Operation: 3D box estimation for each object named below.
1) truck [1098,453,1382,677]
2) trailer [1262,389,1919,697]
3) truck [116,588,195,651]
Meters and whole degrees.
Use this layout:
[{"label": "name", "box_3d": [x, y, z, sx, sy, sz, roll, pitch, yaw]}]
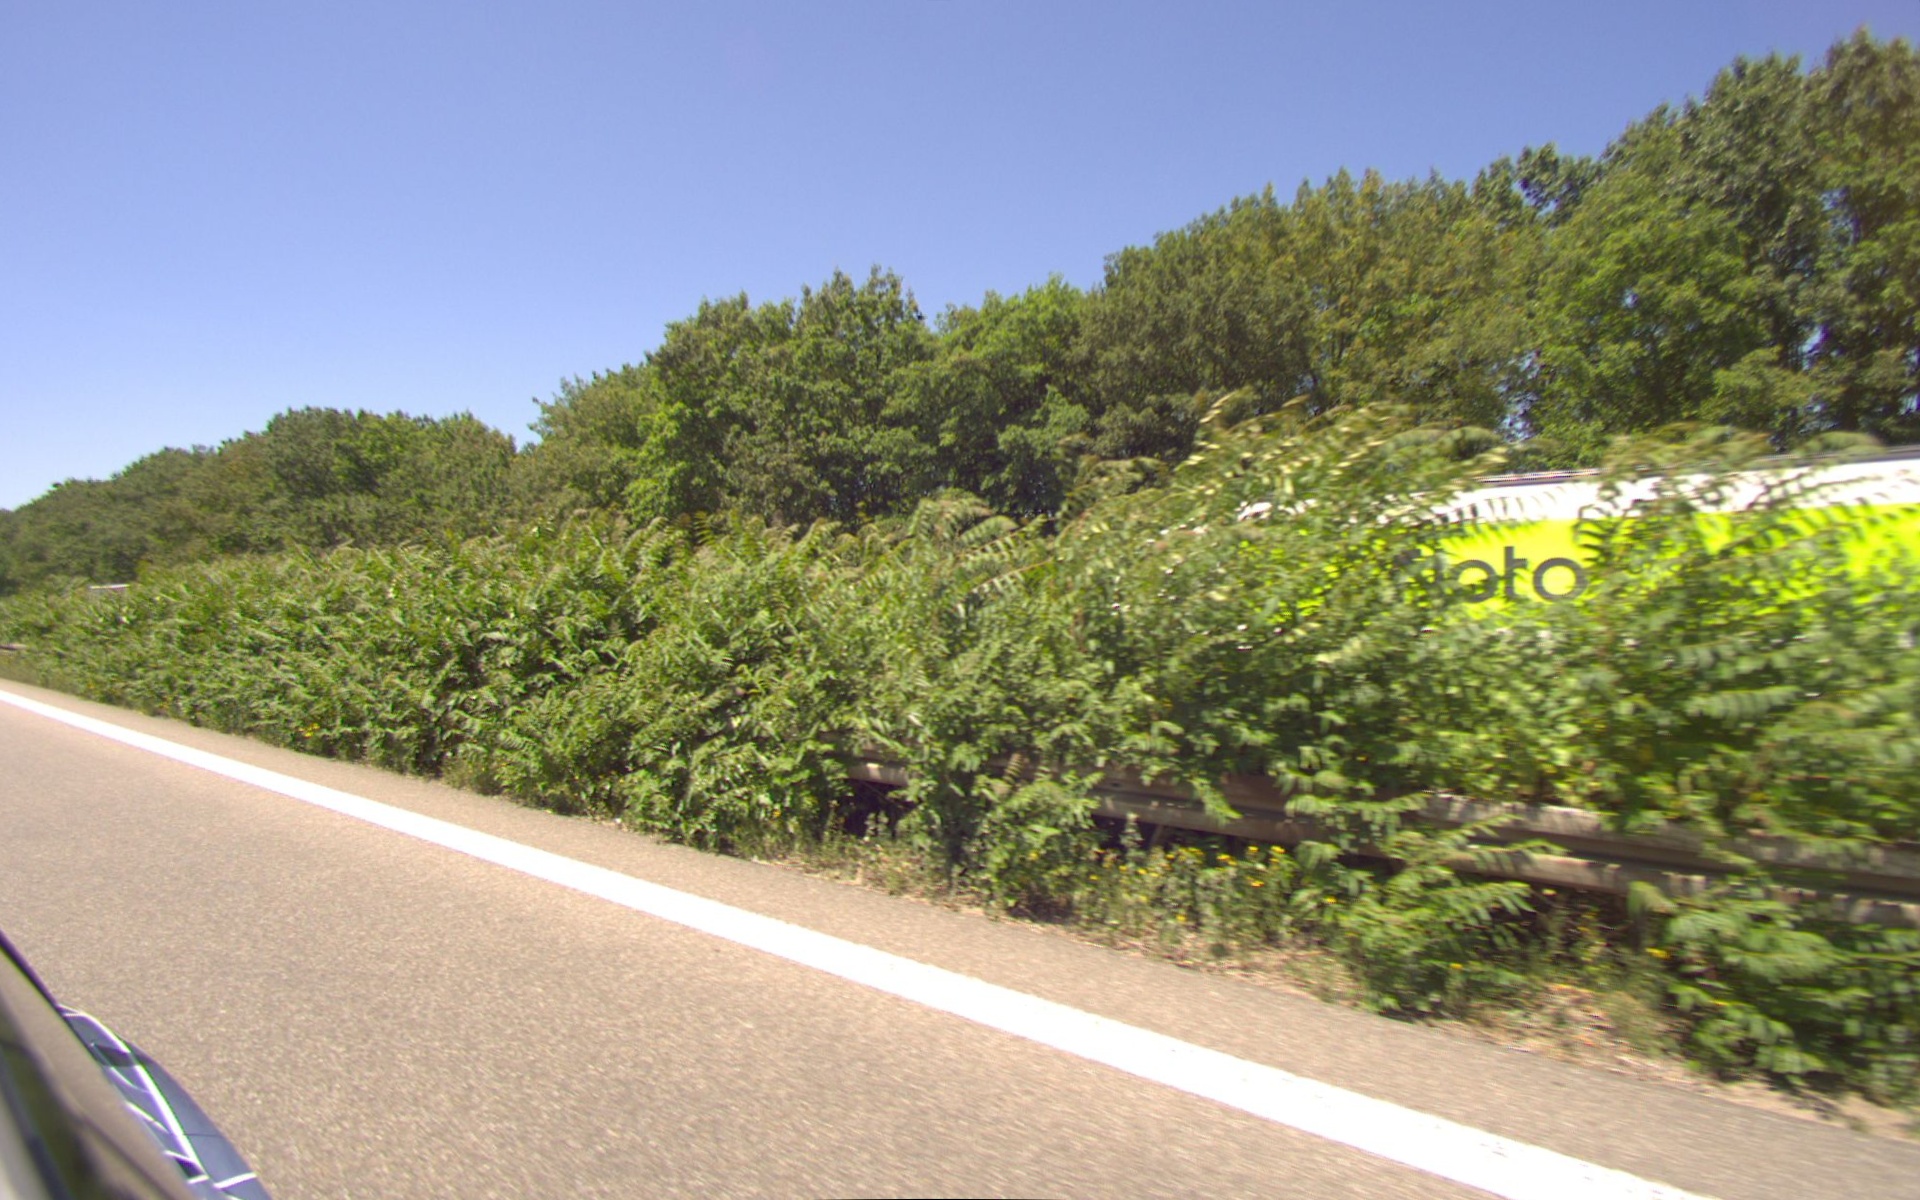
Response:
[{"label": "truck", "box_3d": [5.135, -0.532, 18.664, 4.218, 3.585, 2.935, -1, -1, 39]}, {"label": "trailer", "box_3d": [11.151, -0.642, 13.743, 13.419, 3.597, 2.934, -1, -1, 39]}, {"label": "truck", "box_3d": [-53.467, 1.305, 67.238, 5.865, 4.001, 2.789, -1, -2, 38]}]
